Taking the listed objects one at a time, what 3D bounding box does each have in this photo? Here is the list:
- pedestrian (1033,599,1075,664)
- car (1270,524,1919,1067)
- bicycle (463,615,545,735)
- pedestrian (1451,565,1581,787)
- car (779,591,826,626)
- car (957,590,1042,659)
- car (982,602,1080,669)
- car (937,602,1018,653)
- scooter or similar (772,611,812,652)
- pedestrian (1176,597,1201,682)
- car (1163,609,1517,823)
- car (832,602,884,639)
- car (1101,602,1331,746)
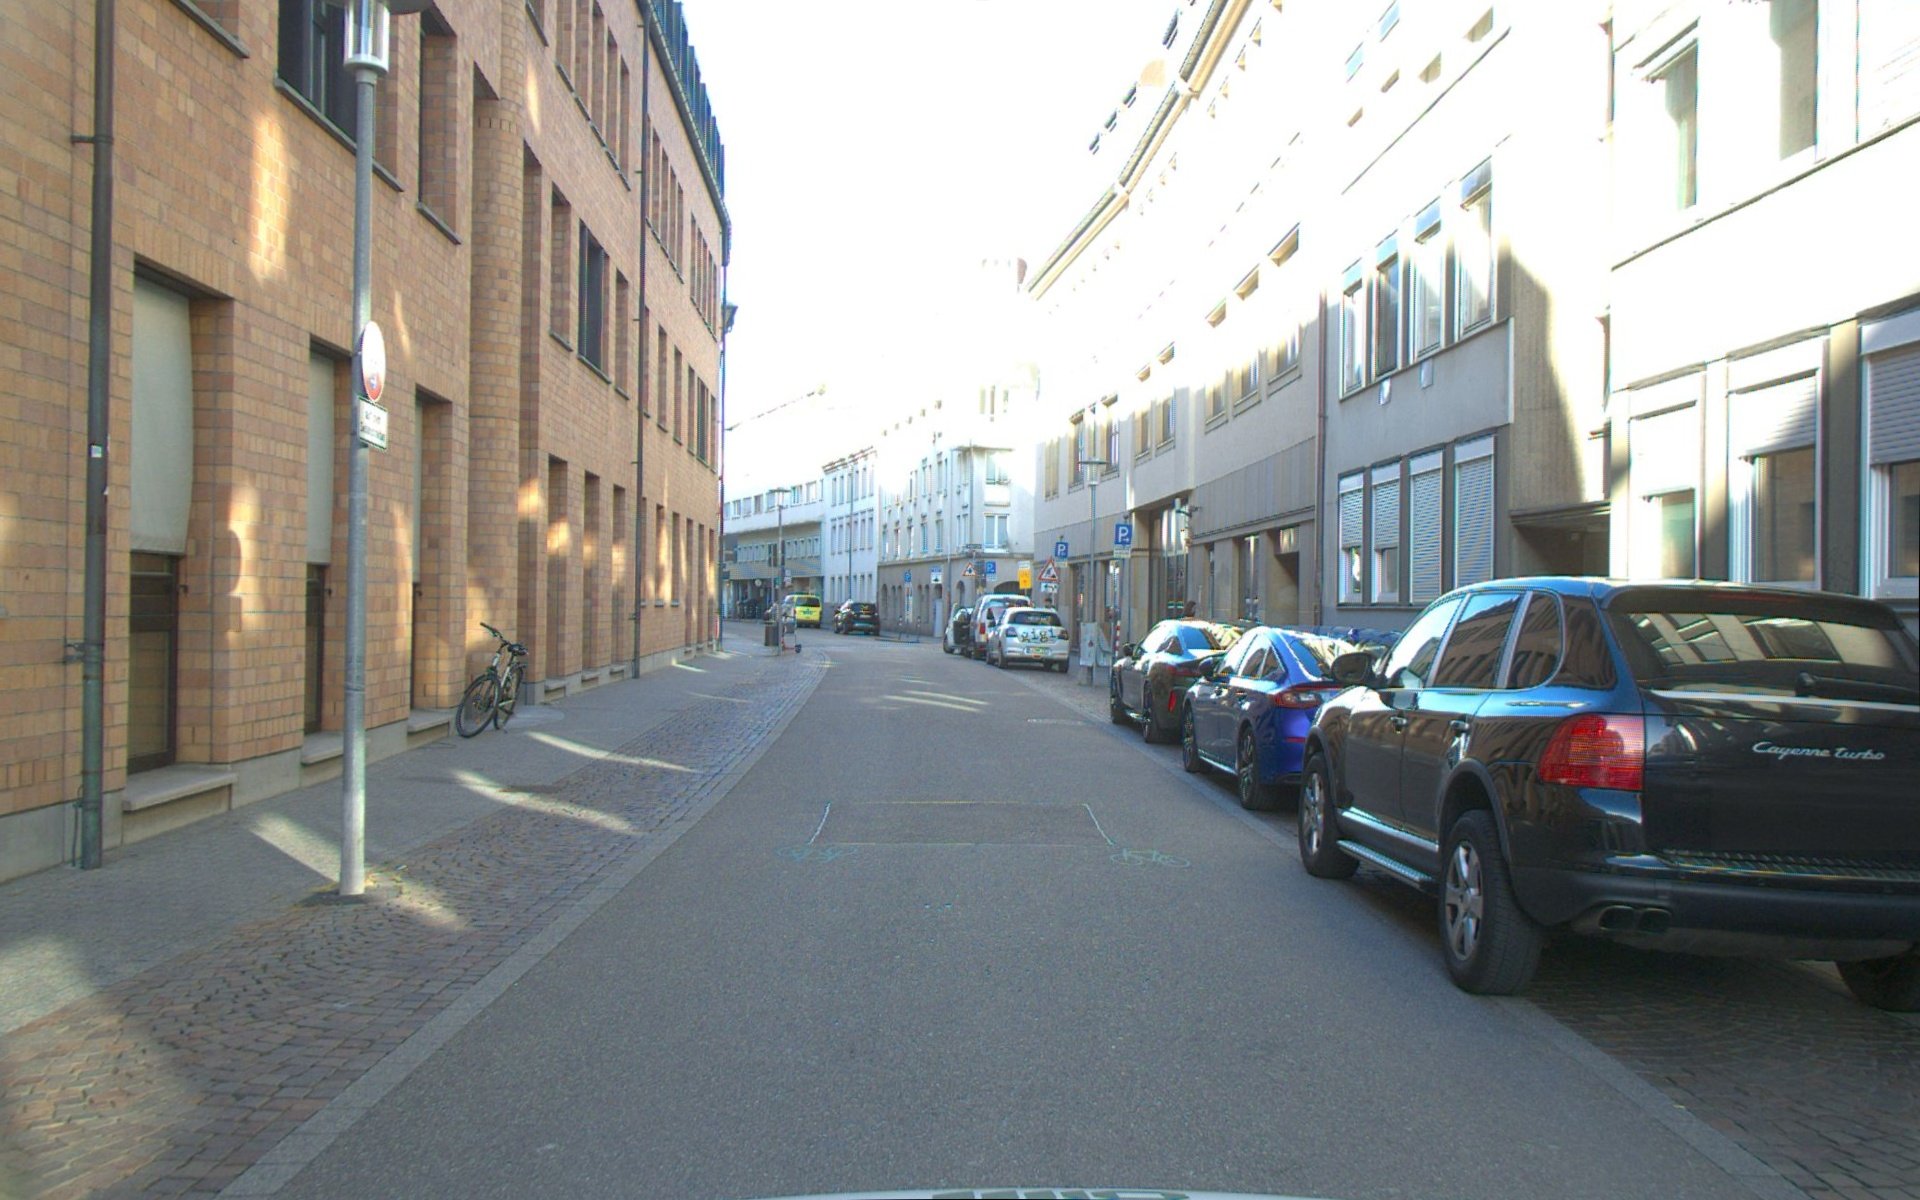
[{"bbox_3d":[2.712,0.901,47.802,1.022,1.833,1.197,1,-1,-6],"label":"pedestrian"},{"bbox_3d":[3.070,0.681,8.190,2.060,1.817,5.051,2,0,0],"label":"car"},{"bbox_3d":[-4.996,0.797,18.202,0.620,1.182,1.800,4,0,-10],"label":"bicycle"},{"bbox_3d":[4.561,0.607,13.619,0.772,1.751,0.746,-1,0,-1],"label":"pedestrian"},{"bbox_3d":[-9.473,0.500,99.199,2.021,2.049,4.154,1,0,-18],"label":"car"},{"bbox_3d":[1.078,0.685,47.736,1.795,1.822,5.207,2,0,-6],"label":"car"},{"bbox_3d":[1.711,0.854,41.468,1.805,1.504,4.162,3,0,-6],"label":"car"},{"bbox_3d":[0.524,0.875,53.645,1.854,1.545,4.053,1,0,-10],"label":"car"},{"bbox_3d":[-5.203,0.976,51.356,0.683,1.239,1.357,0,0,22],"label":"scooter or similar"},{"bbox_3d":[4.541,0.778,32.909,0.470,1.683,0.539,0,0,10],"label":"pedestrian"},{"bbox_3d":[3.052,0.858,14.372,1.771,1.437,4.788,3,0,-2],"label":"car"},{"bbox_3d":[-5.139,1.025,83.196,1.934,1.721,4.087,2,0,-13],"label":"car"},{"bbox_3d":[2.977,0.803,20.406,1.856,1.478,5.224,2,0,-2],"label":"car"}]
